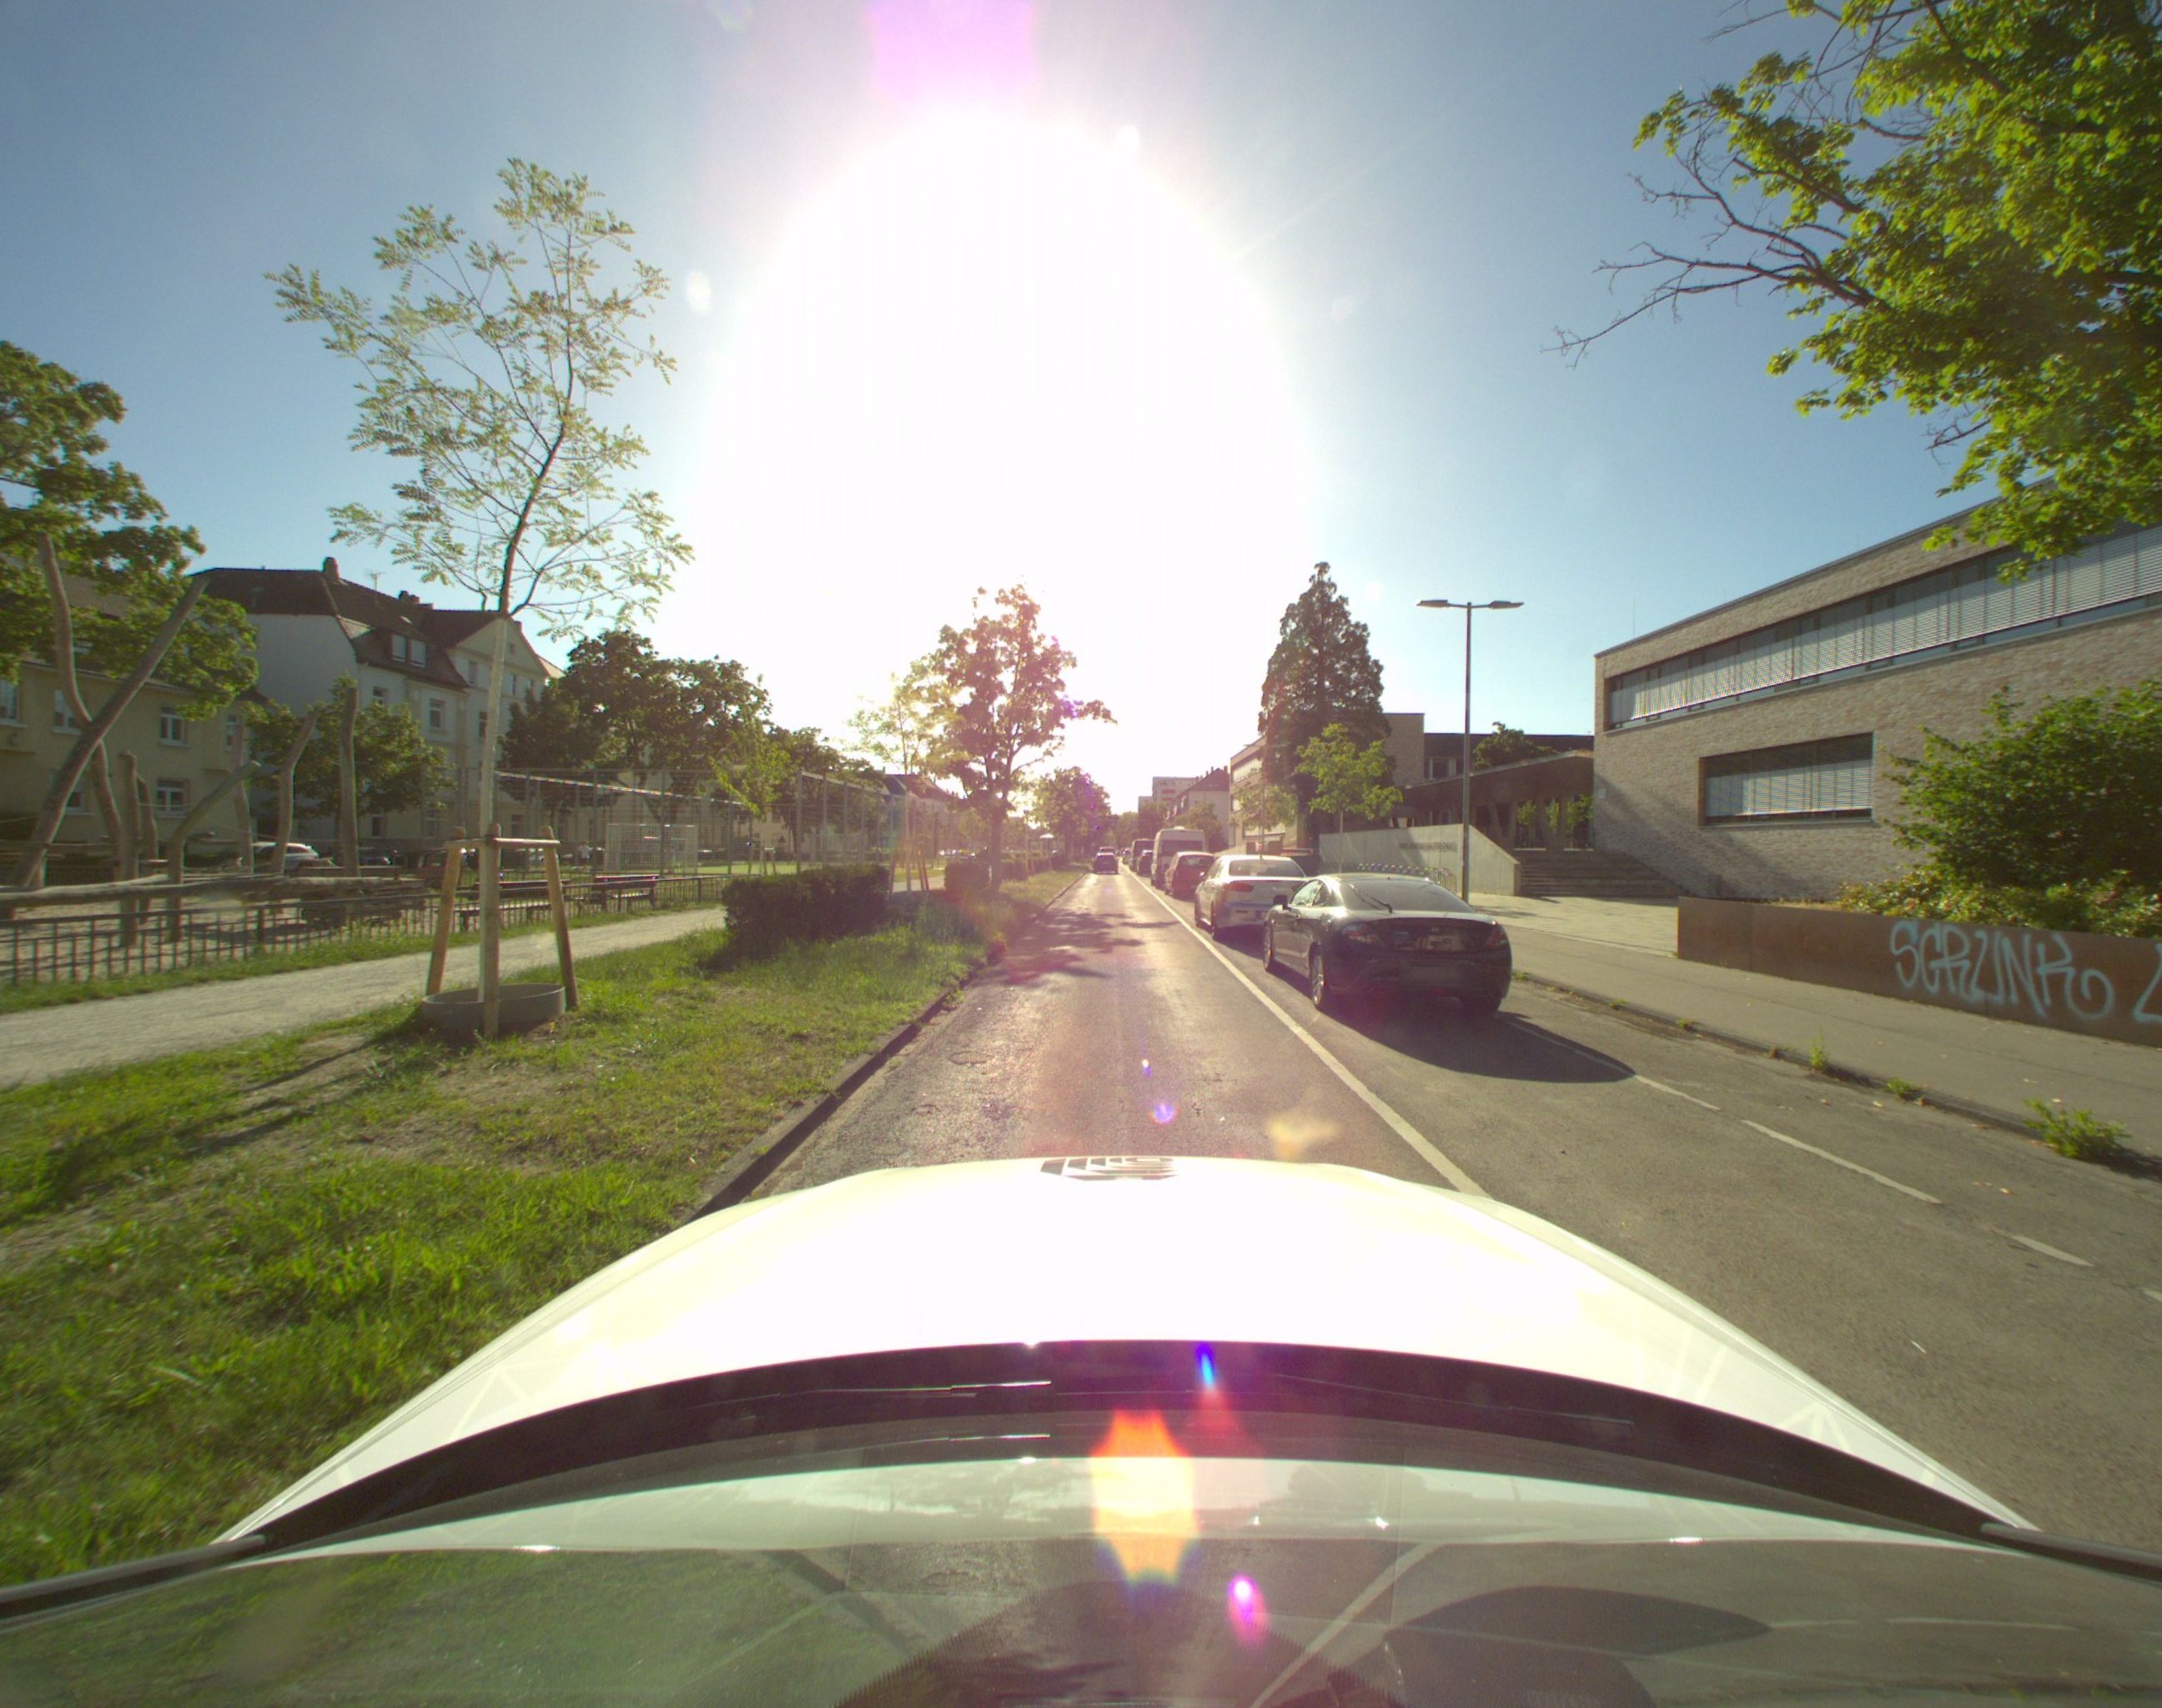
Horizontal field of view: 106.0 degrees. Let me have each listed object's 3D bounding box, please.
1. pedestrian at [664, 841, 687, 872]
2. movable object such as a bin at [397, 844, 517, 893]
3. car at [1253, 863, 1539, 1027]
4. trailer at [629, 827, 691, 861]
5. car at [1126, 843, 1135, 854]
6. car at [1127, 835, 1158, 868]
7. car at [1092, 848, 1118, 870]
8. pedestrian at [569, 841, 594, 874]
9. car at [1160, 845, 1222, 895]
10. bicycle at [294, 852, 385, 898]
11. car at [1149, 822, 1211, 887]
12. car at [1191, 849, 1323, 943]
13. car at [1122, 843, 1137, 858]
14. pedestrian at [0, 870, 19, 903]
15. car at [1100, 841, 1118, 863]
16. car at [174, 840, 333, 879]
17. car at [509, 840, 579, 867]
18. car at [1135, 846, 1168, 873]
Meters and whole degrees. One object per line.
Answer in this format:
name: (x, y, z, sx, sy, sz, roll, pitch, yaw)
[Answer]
pedestrian: (-17.399, 0.110, 34.948, 0.642, 1.318, 0.654, 1, 0, 31)
movable object such as a bin: (-16.523, 0.373, 21.617, 2.324, 1.242, 1.055, 0, 1, -3)
car: (3.177, 0.814, 9.153, 1.695, 1.325, 4.131, 1, 0, 1)
trailer: (-37.384, -0.869, 72.474, 2.335, 2.870, 5.804, 1, 1, 1)
car: (11.984, -1.340, 197.365, 1.986, 2.430, 4.503, 2, 0, 2)
car: (4.863, -0.204, 65.482, 2.108, 2.515, 6.532, 0, 0, 1)
car: (1.750, 0.341, 58.237, 1.787, 1.510, 4.002, 1, 0, 2)
pedestrian: (-20.617, 0.130, 33.610, 0.642, 1.318, 0.654, 1, 0, 31)
car: (3.687, 0.492, 27.858, 1.614, 1.588, 3.591, 1, 1, 0)
bicycle: (-18.456, 0.519, 20.294, 1.788, 1.107, 0.500, 1, 0, -1)
car: (4.228, 0.014, 35.679, 2.232, 2.574, 5.435, 1, 0, 2)
car: (3.140, 0.669, 15.286, 1.695, 1.478, 4.176, 1, 0, 2)
car: (5.969, -0.429, 99.208, 1.786, 1.855, 4.418, 1, 1, 4)
pedestrian: (-26.798, 0.806, 20.192, 0.481, 0.804, 0.359, 1, 0, 3)
car: (2.871, -0.217, 83.676, 1.787, 2.122, 4.002, 1, 0, 2)
car: (-37.869, 0.208, 37.522, 1.874, 1.651, 5.185, 1, 1, 2)
car: (-37.620, -0.032, 57.236, 1.787, 1.777, 4.491, 1, 1, 2)
car: (4.578, 0.334, 53.221, 1.839, 1.640, 4.505, 0, 0, 1)
